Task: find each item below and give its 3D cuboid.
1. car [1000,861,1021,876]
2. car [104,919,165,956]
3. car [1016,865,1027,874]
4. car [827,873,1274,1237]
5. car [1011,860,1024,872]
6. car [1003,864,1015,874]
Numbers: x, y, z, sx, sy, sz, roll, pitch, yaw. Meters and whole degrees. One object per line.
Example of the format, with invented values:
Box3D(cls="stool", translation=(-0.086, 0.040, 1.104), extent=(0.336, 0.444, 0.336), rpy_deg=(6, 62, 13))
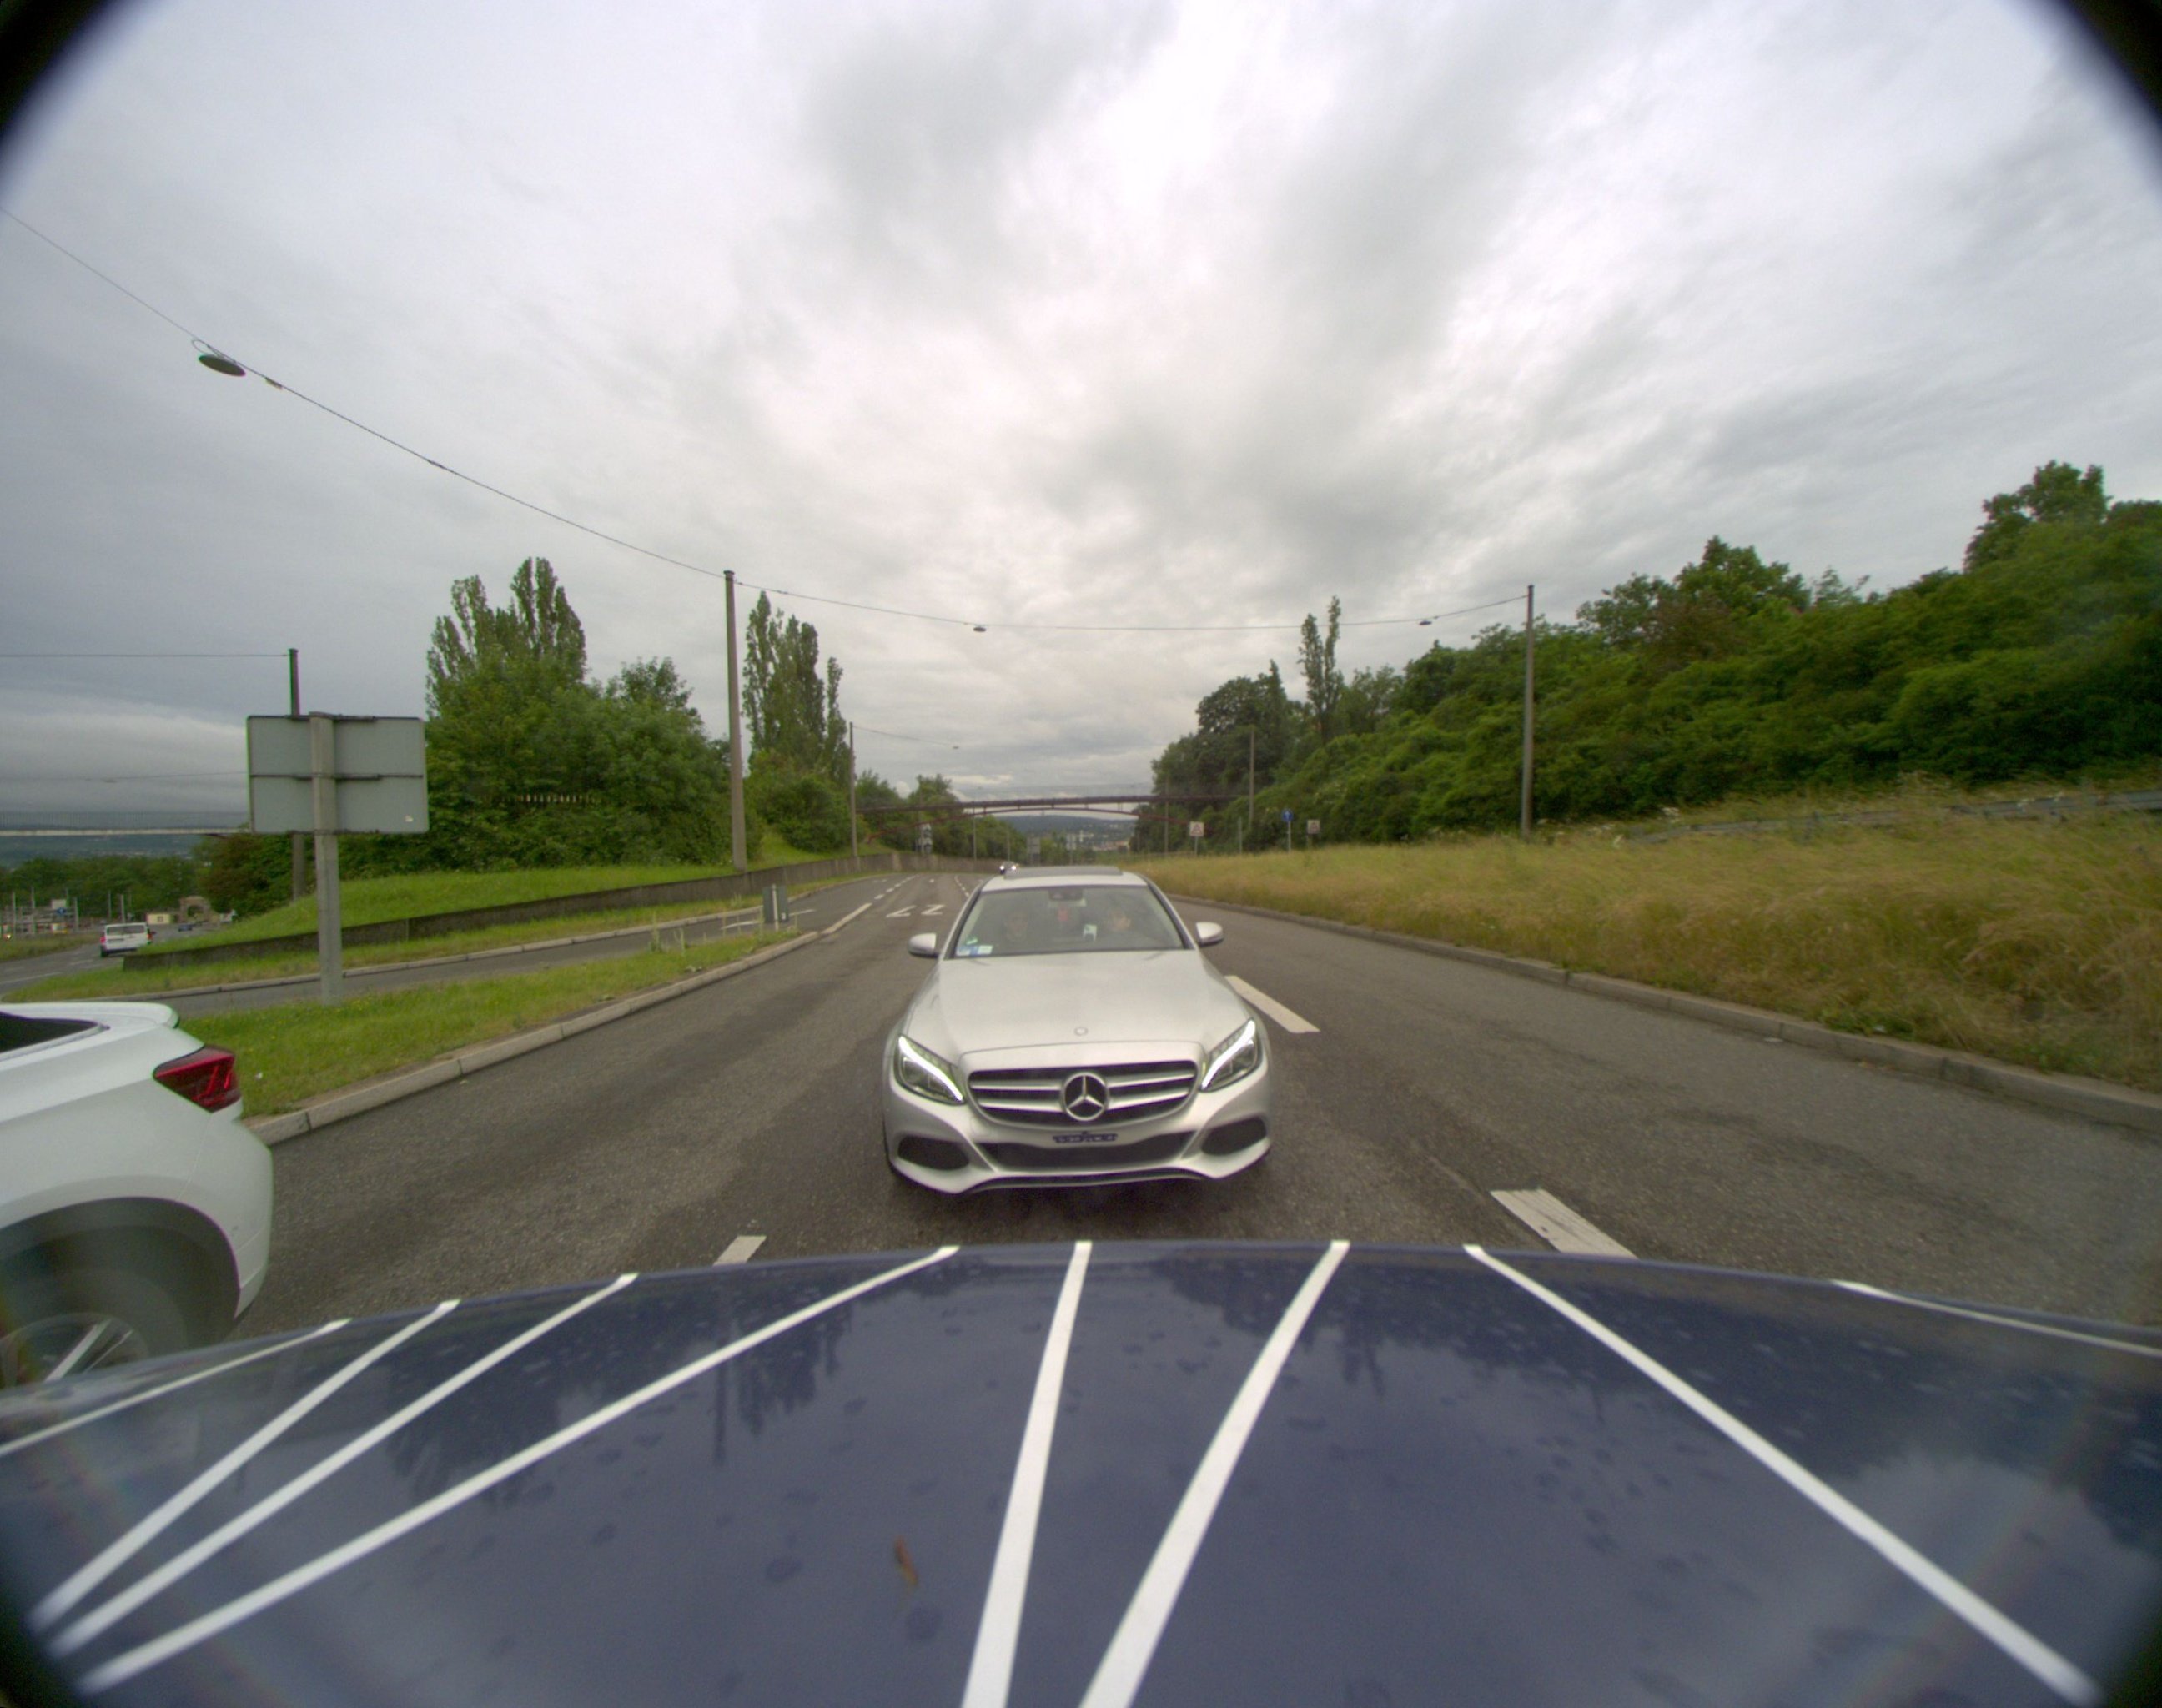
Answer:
Box3D(cls="car", translation=(-8.681, 1.783, 93.919), extent=(1.911, 1.668, 4.000), rpy_deg=(-5, 0, 1))
Box3D(cls="car", translation=(-56.055, 4.914, 44.990), extent=(4.811, 1.837, 2.003), rpy_deg=(-4, 0, 37))
Box3D(cls="car", translation=(-12.323, 3.198, 158.498), extent=(1.999, 1.652, 3.999), rpy_deg=(-4, 0, -2))
Box3D(cls="car", translation=(0.009, 0.926, 5.323), extent=(1.894, 1.361, 4.135), rpy_deg=(-1, 1, 4))
Box3D(cls="car", translation=(-10.234, 1.938, 122.428), extent=(1.912, 1.668, 3.999), rpy_deg=(-5, 0, -5))
Box3D(cls="car", translation=(-13.635, 2.797, 143.771), extent=(1.999, 1.652, 3.999), rpy_deg=(-5, 0, -2))
